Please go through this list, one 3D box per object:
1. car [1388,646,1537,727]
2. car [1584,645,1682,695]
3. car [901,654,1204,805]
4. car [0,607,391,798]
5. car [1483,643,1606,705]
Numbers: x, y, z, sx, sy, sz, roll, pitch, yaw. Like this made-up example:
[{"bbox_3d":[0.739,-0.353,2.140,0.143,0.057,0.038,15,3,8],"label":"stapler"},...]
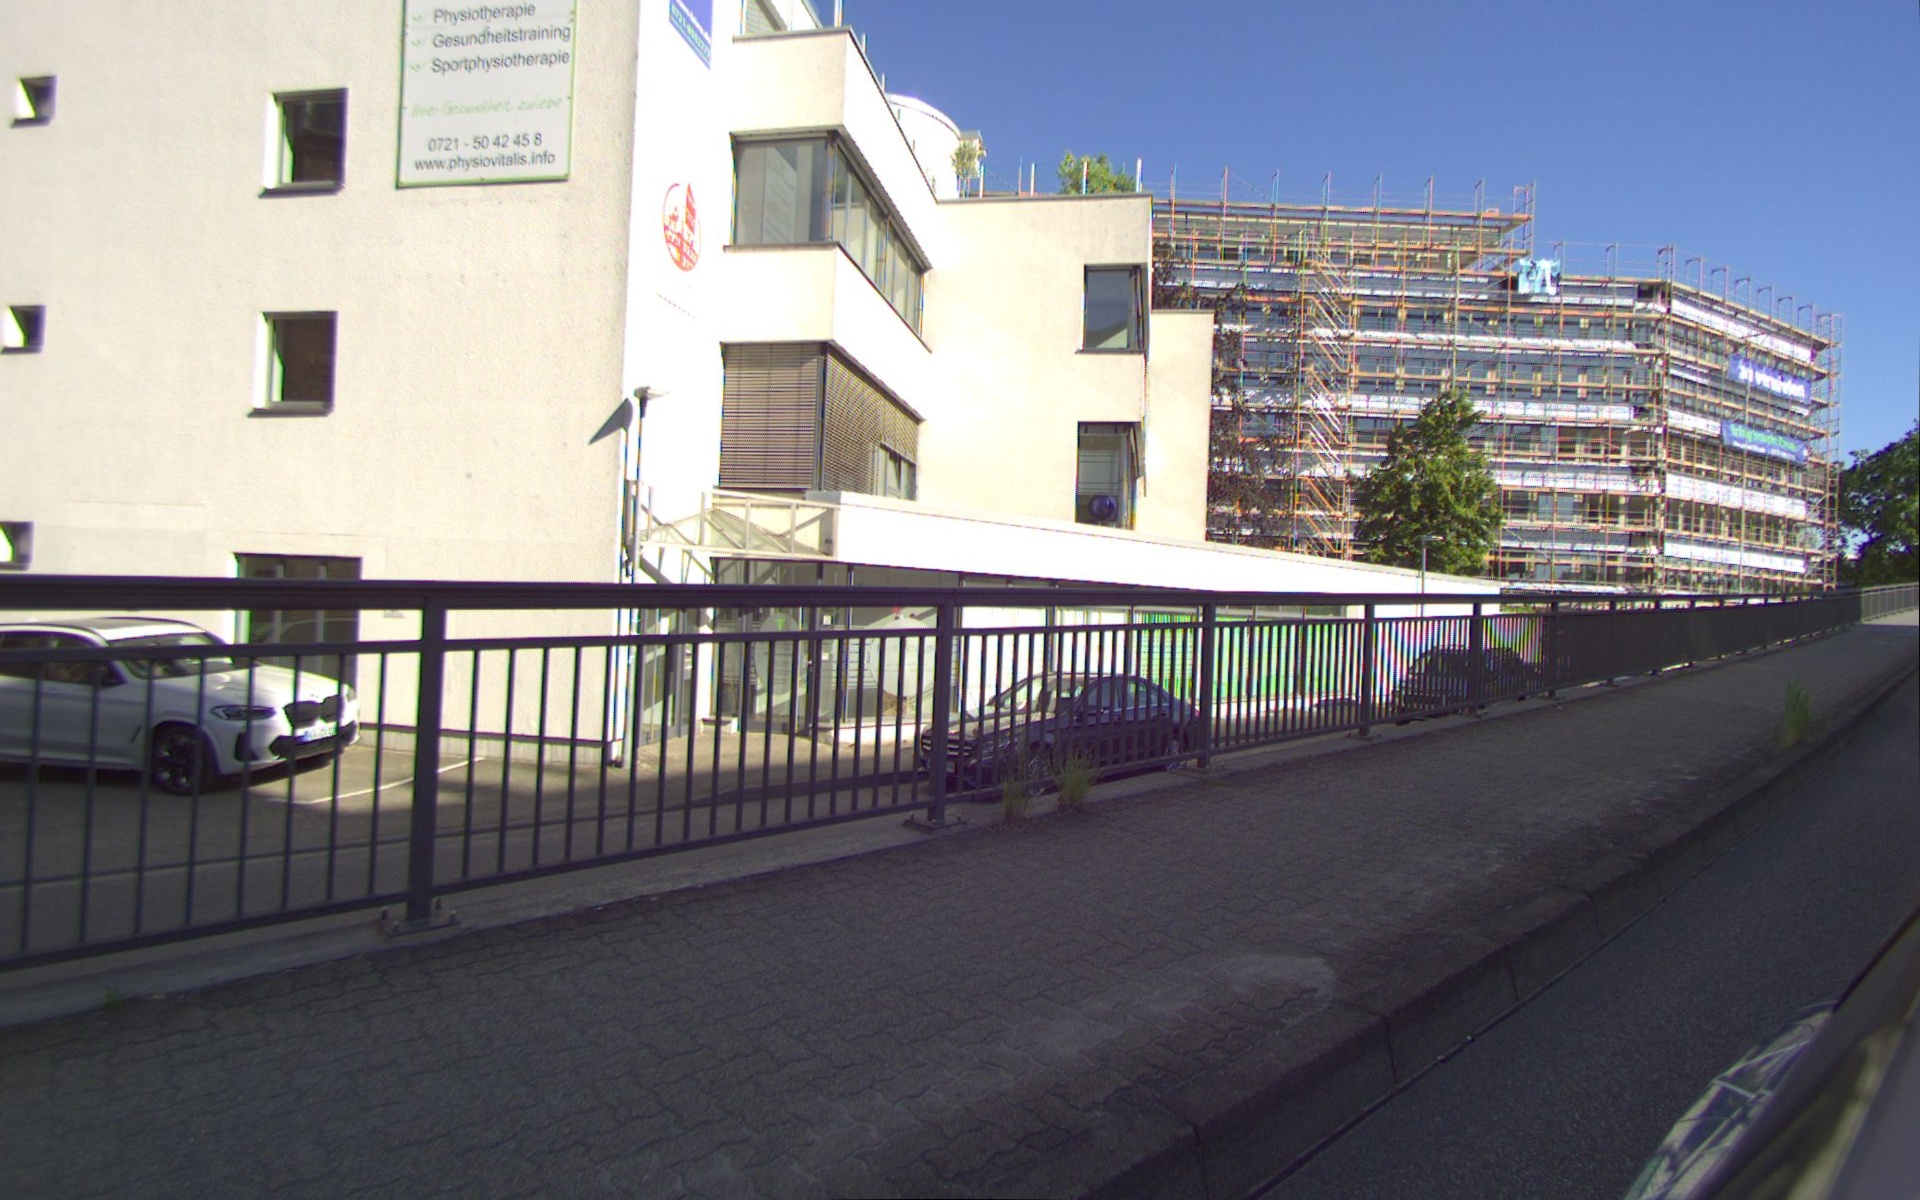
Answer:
[{"bbox_3d":[11.329,1.871,22.722,3.931,1.541,1.723,1,-1,-43],"label":"car"},{"bbox_3d":[21.528,2.190,32.324,3.931,1.410,1.723,1,-1,-43],"label":"car"},{"bbox_3d":[1.308,1.550,13.270,3.930,1.541,1.724,1,-1,-41],"label":"car"},{"bbox_3d":[-9.008,1.023,11.266,4.455,1.707,1.840,2,0,8],"label":"car"},{"bbox_3d":[15.438,1.881,26.665,3.931,1.410,1.723,1,-1,-43],"label":"car"}]
